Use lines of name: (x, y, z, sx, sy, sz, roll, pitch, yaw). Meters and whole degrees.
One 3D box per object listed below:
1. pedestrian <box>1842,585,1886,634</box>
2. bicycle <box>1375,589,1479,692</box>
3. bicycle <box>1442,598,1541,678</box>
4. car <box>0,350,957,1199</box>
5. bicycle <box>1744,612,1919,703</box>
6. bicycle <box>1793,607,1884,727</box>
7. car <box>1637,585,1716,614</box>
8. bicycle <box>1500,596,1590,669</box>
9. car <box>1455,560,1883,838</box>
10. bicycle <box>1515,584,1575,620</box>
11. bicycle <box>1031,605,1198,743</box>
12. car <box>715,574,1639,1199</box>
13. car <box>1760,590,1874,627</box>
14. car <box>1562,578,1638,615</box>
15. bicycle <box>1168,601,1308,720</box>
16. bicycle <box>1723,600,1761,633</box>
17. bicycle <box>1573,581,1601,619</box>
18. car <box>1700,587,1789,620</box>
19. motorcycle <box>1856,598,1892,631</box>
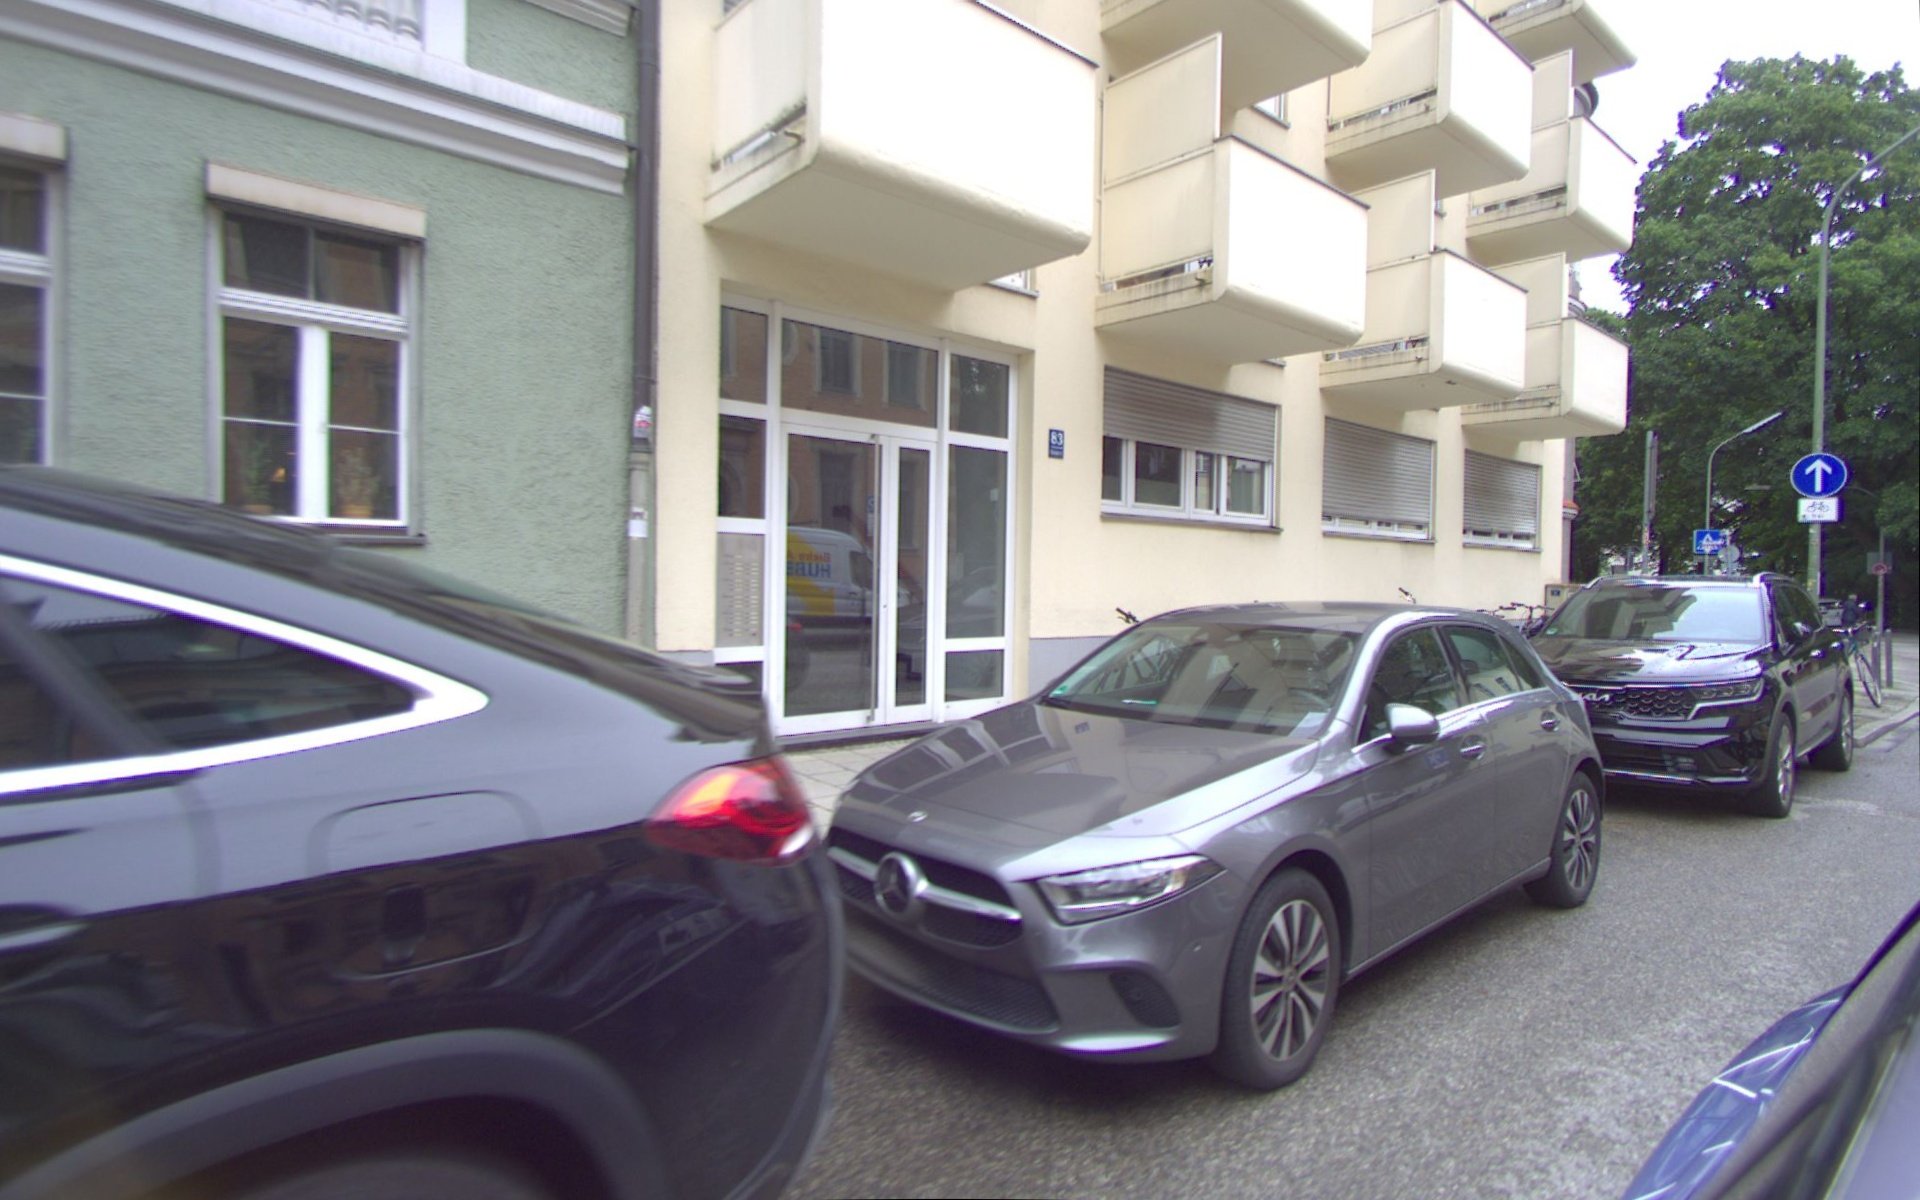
pedestrian: (31.288, 0.331, 35.023, 0.711, 1.662, 0.814, 1, 2, -8)
bicycle: (6.079, 0.481, 13.128, 0.687, 1.221, 1.735, 2, 2, 43)
bicycle: (7.789, 0.524, 14.806, 1.730, 1.067, 0.581, -1, 2, -37)
car: (-2.364, 0.521, 0.963, 4.672, 1.570, 1.863, -1, 3, -42)
bicycle: (11.826, 0.754, 13.706, 1.746, 1.079, 0.769, 2, 2, 28)
bicycle: (9.847, 0.698, 11.395, 0.578, 1.168, 1.938, 2, 2, 36)
car: (38.820, -0.078, 54.955, 1.598, 1.467, 4.425, 1, 1, 9)
bicycle: (9.233, 0.487, 15.959, 1.730, 1.067, 0.581, -1, 2, -37)
car: (5.947, 0.538, 8.253, 4.472, 1.659, 1.853, -1, 2, -42)
bicycle: (21.228, 0.059, 36.703, 1.886, 1.271, 0.740, 0, 2, -15)
bicycle: (1.419, 0.611, 9.079, 0.580, 1.067, 1.735, 3, 3, 44)
car: (1.306, 0.650, 4.418, 4.340, 1.478, 1.730, -1, 1, -42)
car: (36.669, 0.320, 43.438, 1.598, 1.467, 4.425, 1, 1, 9)
car: (37.912, -0.238, 60.082, 2.013, 2.067, 4.944, 1, 1, 10)
bicycle: (2.884, 0.572, 10.381, 0.580, 1.067, 1.808, 3, 3, 44)
bicycle: (25.837, 0.526, 33.435, 1.972, 1.022, 0.511, -1, 2, -39)
bicycle: (24.661, -0.024, 39.808, 0.731, 1.431, 1.909, 2, 2, 27)
car: (37.864, 0.126, 48.982, 1.600, 1.467, 4.420, 1, 1, 12)
motorcycle: (34.766, 0.539, 38.510, 0.855, 1.199, 1.978, -2, 0, 39)
